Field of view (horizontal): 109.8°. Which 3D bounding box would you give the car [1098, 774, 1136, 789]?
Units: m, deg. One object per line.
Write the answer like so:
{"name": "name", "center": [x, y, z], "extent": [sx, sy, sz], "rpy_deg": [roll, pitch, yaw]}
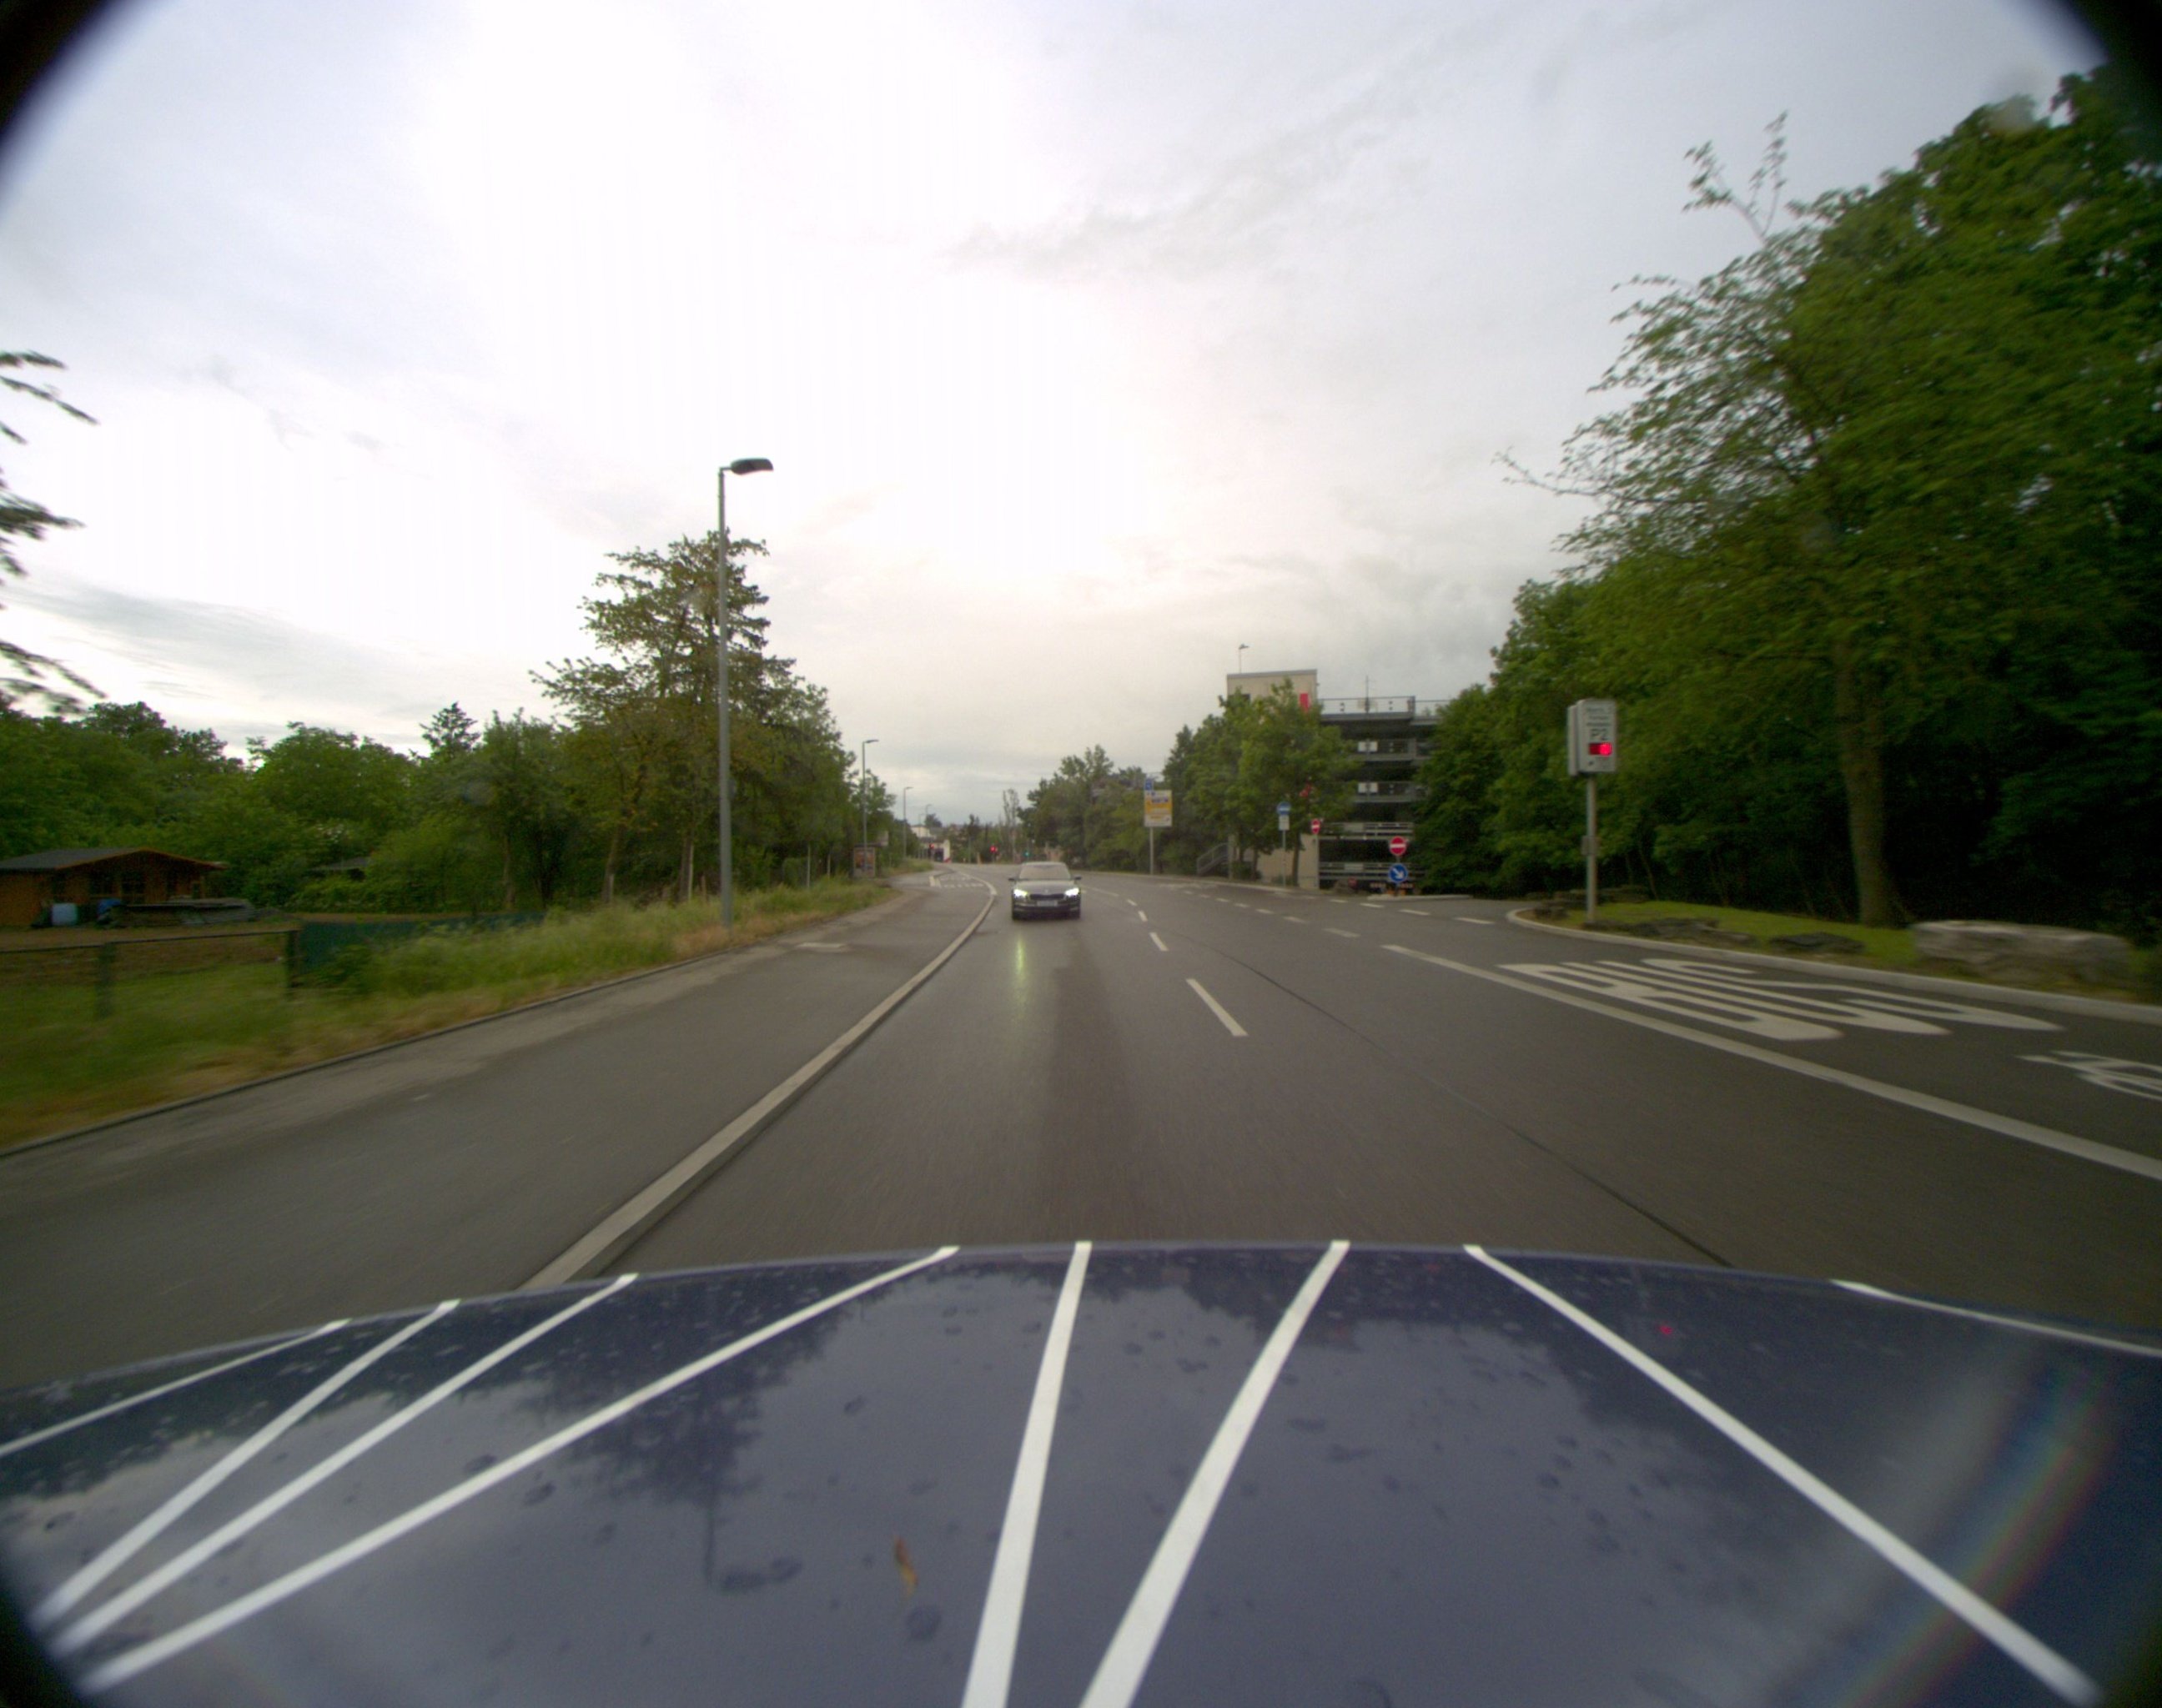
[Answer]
{"name": "car", "center": [4.088, -8.220, 86.665], "extent": [3.992, 1.510, 2.003], "rpy_deg": [1, 0, 16]}

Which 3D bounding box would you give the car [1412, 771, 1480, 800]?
{"name": "car", "center": [25.848, -4.840, 53.927], "extent": [3.993, 1.761, 2.002], "rpy_deg": [0, -1, 12]}

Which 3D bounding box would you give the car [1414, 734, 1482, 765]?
{"name": "car", "center": [25.840, -7.353, 53.618], "extent": [3.993, 1.761, 2.002], "rpy_deg": [0, -1, 12]}

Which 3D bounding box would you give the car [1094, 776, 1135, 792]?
{"name": "car", "center": [3.663, -7.634, 82.676], "extent": [3.992, 1.510, 2.003], "rpy_deg": [1, 0, 16]}

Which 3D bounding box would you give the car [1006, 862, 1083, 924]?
{"name": "car", "center": [-0.885, 0.978, 20.838], "extent": [1.839, 1.448, 4.202], "rpy_deg": [-2, 0, 0]}
